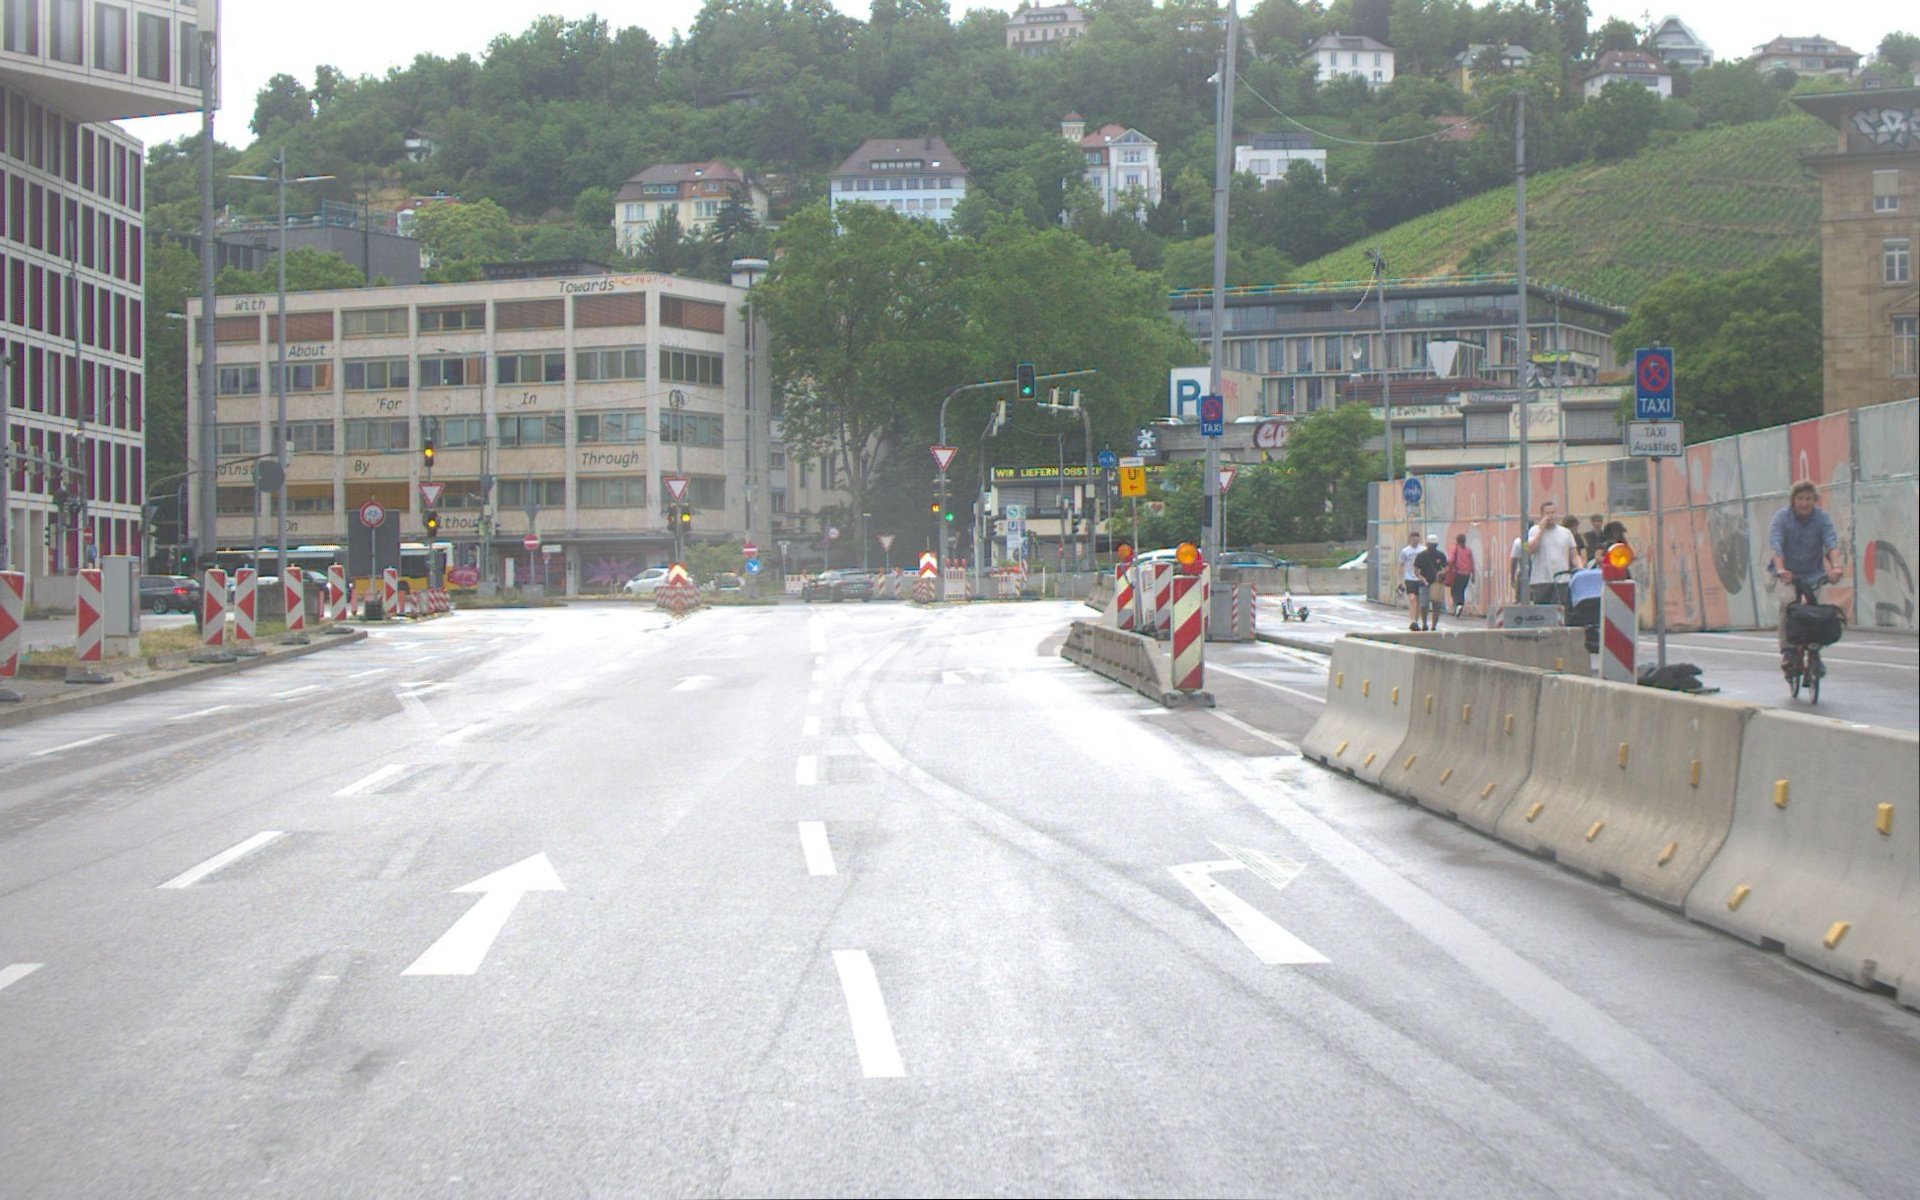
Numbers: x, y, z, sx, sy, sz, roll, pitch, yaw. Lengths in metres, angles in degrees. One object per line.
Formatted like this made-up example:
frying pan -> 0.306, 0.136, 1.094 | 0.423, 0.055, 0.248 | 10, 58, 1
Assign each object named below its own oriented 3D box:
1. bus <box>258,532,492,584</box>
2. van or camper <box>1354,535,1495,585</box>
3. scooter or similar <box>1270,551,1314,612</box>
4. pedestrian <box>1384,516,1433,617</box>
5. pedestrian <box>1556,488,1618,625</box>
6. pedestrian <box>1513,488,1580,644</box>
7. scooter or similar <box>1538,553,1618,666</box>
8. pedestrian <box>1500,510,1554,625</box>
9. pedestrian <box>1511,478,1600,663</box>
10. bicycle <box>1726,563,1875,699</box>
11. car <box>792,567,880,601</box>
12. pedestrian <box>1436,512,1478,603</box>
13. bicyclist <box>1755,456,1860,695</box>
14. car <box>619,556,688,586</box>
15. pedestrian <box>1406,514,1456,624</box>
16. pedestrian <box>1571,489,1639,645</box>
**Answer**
bus -> -32.488, -2.318, 190.506 | 13.953, 2.741, 3.206 | 0, 1, 30
van or camper -> 18.180, -1.569, 134.584 | 5.195, 1.887, 1.888 | -1, 1, -3
scooter or similar -> 6.528, -0.362, 67.566 | 0.467, 1.179, 1.415 | -1, 1, -11
pedestrian -> 7.815, -0.587, 59.979 | 0.683, 1.734, 0.907 | -1, 1, -3
pedestrian -> 8.712, -0.612, 47.782 | 0.683, 1.882, 0.693 | -1, 1, -3
pedestrian -> 7.167, -0.420, 42.009 | 0.683, 1.882, 0.693 | -1, 1, 0
scooter or similar -> 6.638, 0.093, 36.965 | 0.664, 1.194, 1.044 | -1, 1, 0
pedestrian -> 9.288, -0.542, 56.327 | 0.703, 1.860, 0.990 | -1, 1, -1
pedestrian -> 6.571, -0.333, 37.960 | 0.803, 2.009, 0.972 | -1, 1, 0
bicycle -> 7.142, 0.245, 29.296 | 0.765, 1.108, 1.981 | -1, 1, 0
car -> -5.634, -0.720, 155.789 | 1.731, 1.486, 4.076 | -1, 1, -42
pedestrian -> 10.332, -0.886, 71.527 | 0.719, 1.860, 0.709 | -1, 1, -3
bicyclist -> 7.221, -0.212, 29.309 | 0.726, 2.007, 0.599 | -1, 1, 0
car -> -15.809, -1.506, 177.349 | 1.730, 1.486, 4.077 | -1, 1, -35
pedestrian -> 7.472, -0.494, 54.551 | 0.642, 1.734, 0.838 | -1, 1, -2
pedestrian -> 7.878, -0.406, 41.991 | 0.683, 1.882, 0.693 | -1, 1, 0
